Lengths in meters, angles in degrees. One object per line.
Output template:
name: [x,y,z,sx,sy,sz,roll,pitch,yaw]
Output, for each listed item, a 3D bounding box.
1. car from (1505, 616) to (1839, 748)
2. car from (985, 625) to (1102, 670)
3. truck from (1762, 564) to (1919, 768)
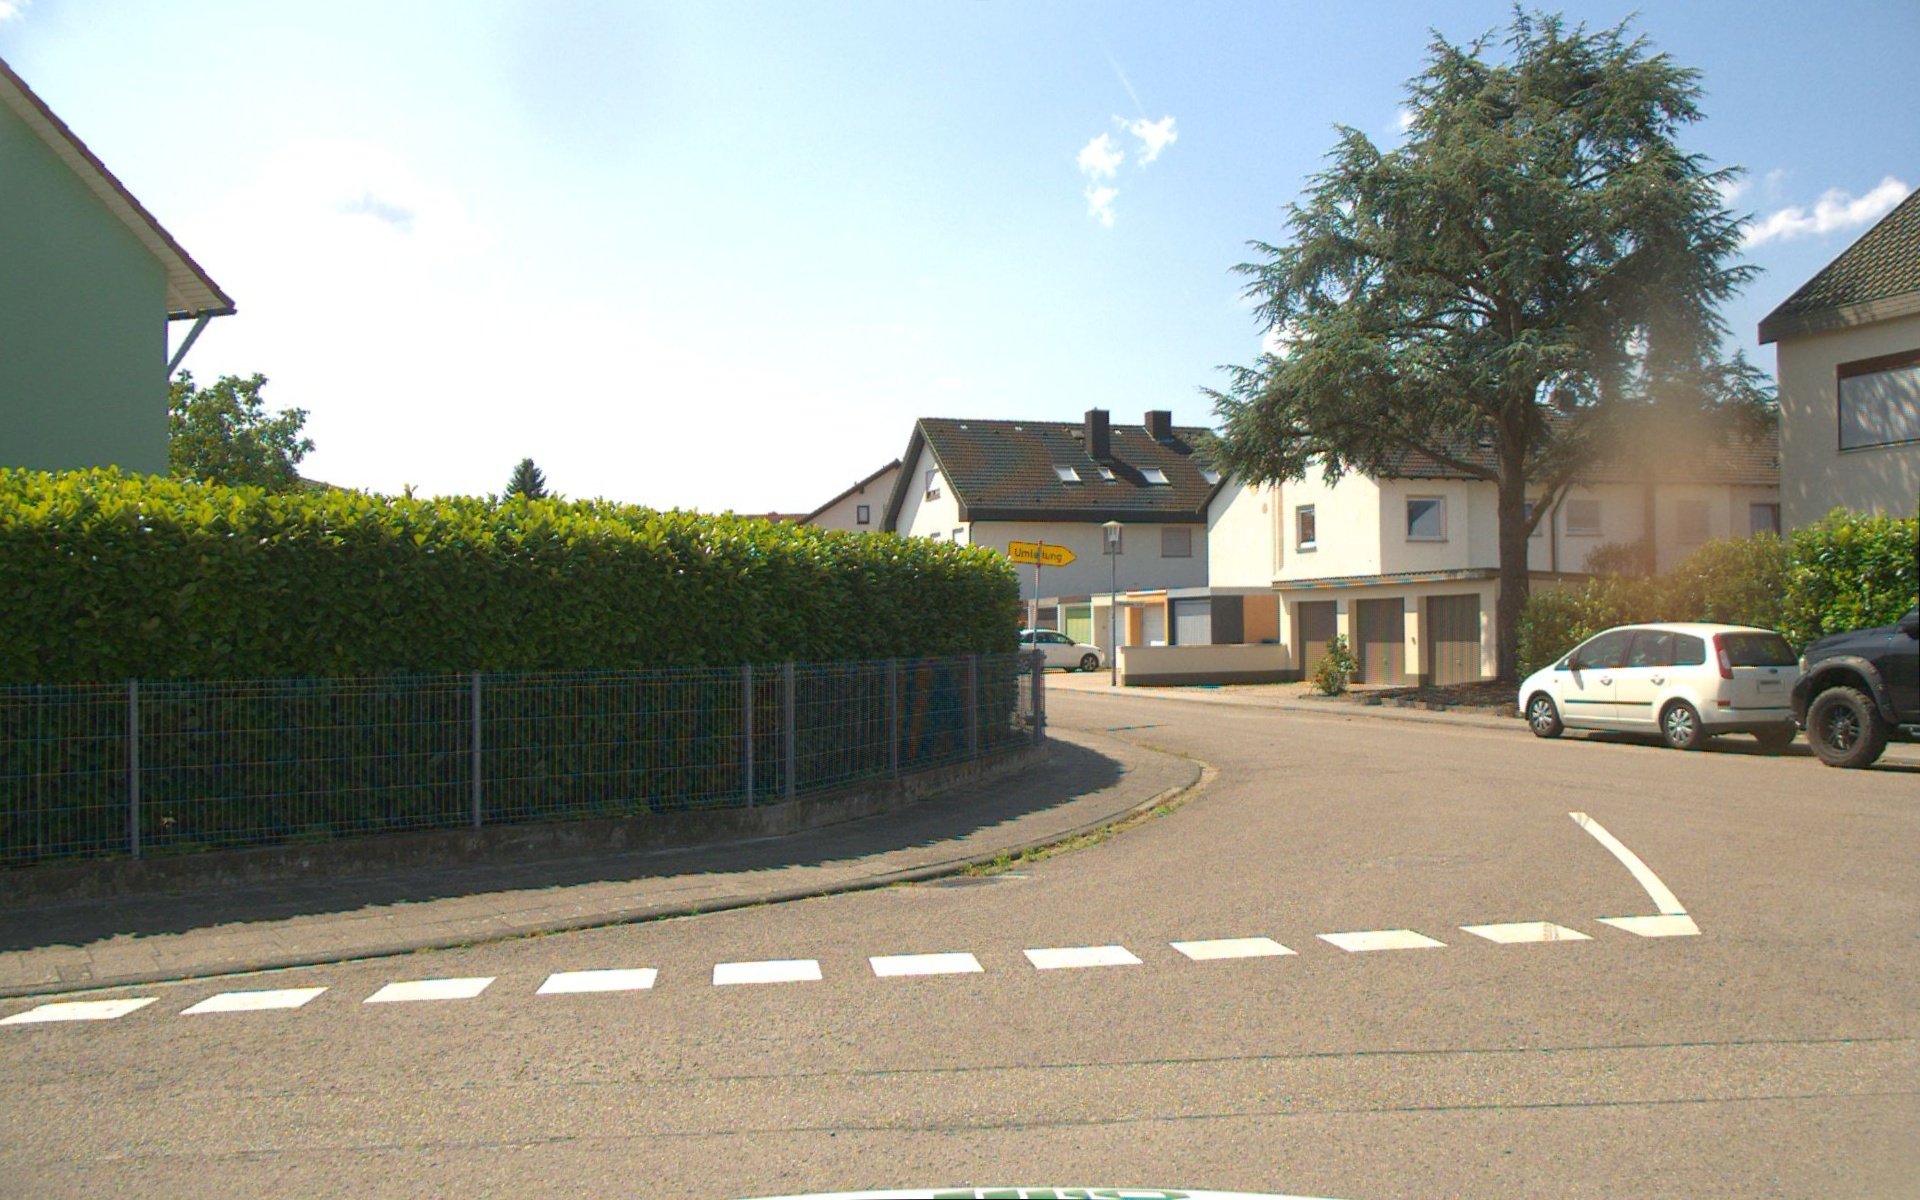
car: [9.475,1.043,22.380,1.772,1.590,4.116,0,-1,-21]
car: [2.794,1.590,55.517,3.546,1.433,1.774,0,-1,-20]
truck: [11.085,0.701,16.270,2.331,2.049,5.673,3,-3,-22]
